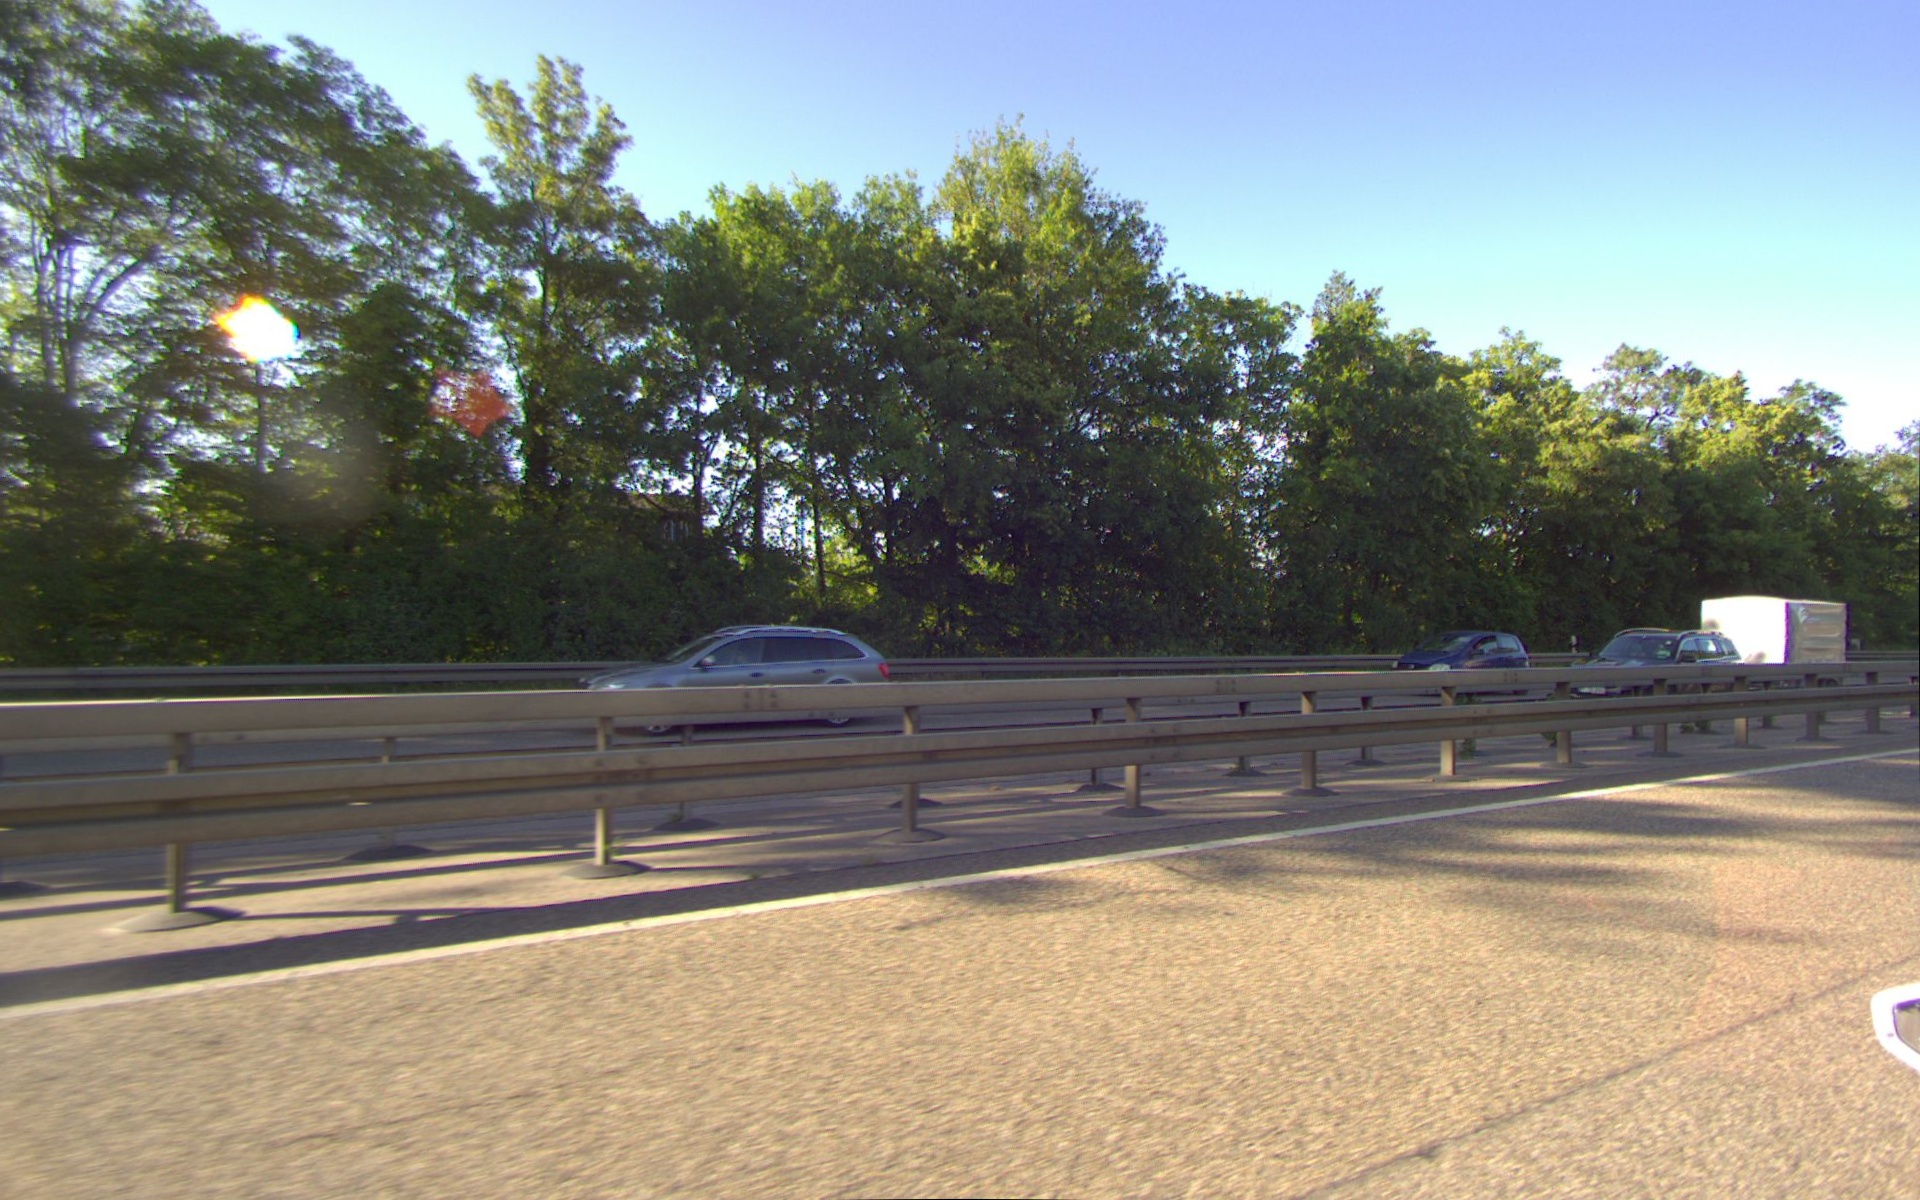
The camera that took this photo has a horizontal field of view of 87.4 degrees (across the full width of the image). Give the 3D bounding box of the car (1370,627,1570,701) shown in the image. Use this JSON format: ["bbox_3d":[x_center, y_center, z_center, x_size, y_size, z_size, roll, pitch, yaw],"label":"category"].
[{"bbox_3d":[12.643,1.519,24.822,5.000,1.635,2.061,2,-1,-31],"label":"car"}]

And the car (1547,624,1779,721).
[{"bbox_3d":[14.435,1.396,20.536,5.166,1.771,2.060,1,-2,-32],"label":"car"}]

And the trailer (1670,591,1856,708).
[{"bbox_3d":[18.567,1.102,23.178,4.555,2.469,1.983,1,-2,-32],"label":"trailer"}]

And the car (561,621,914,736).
[{"bbox_3d":[-3.360,1.120,15.471,4.928,1.486,2.061,2,-1,-31],"label":"car"}]
